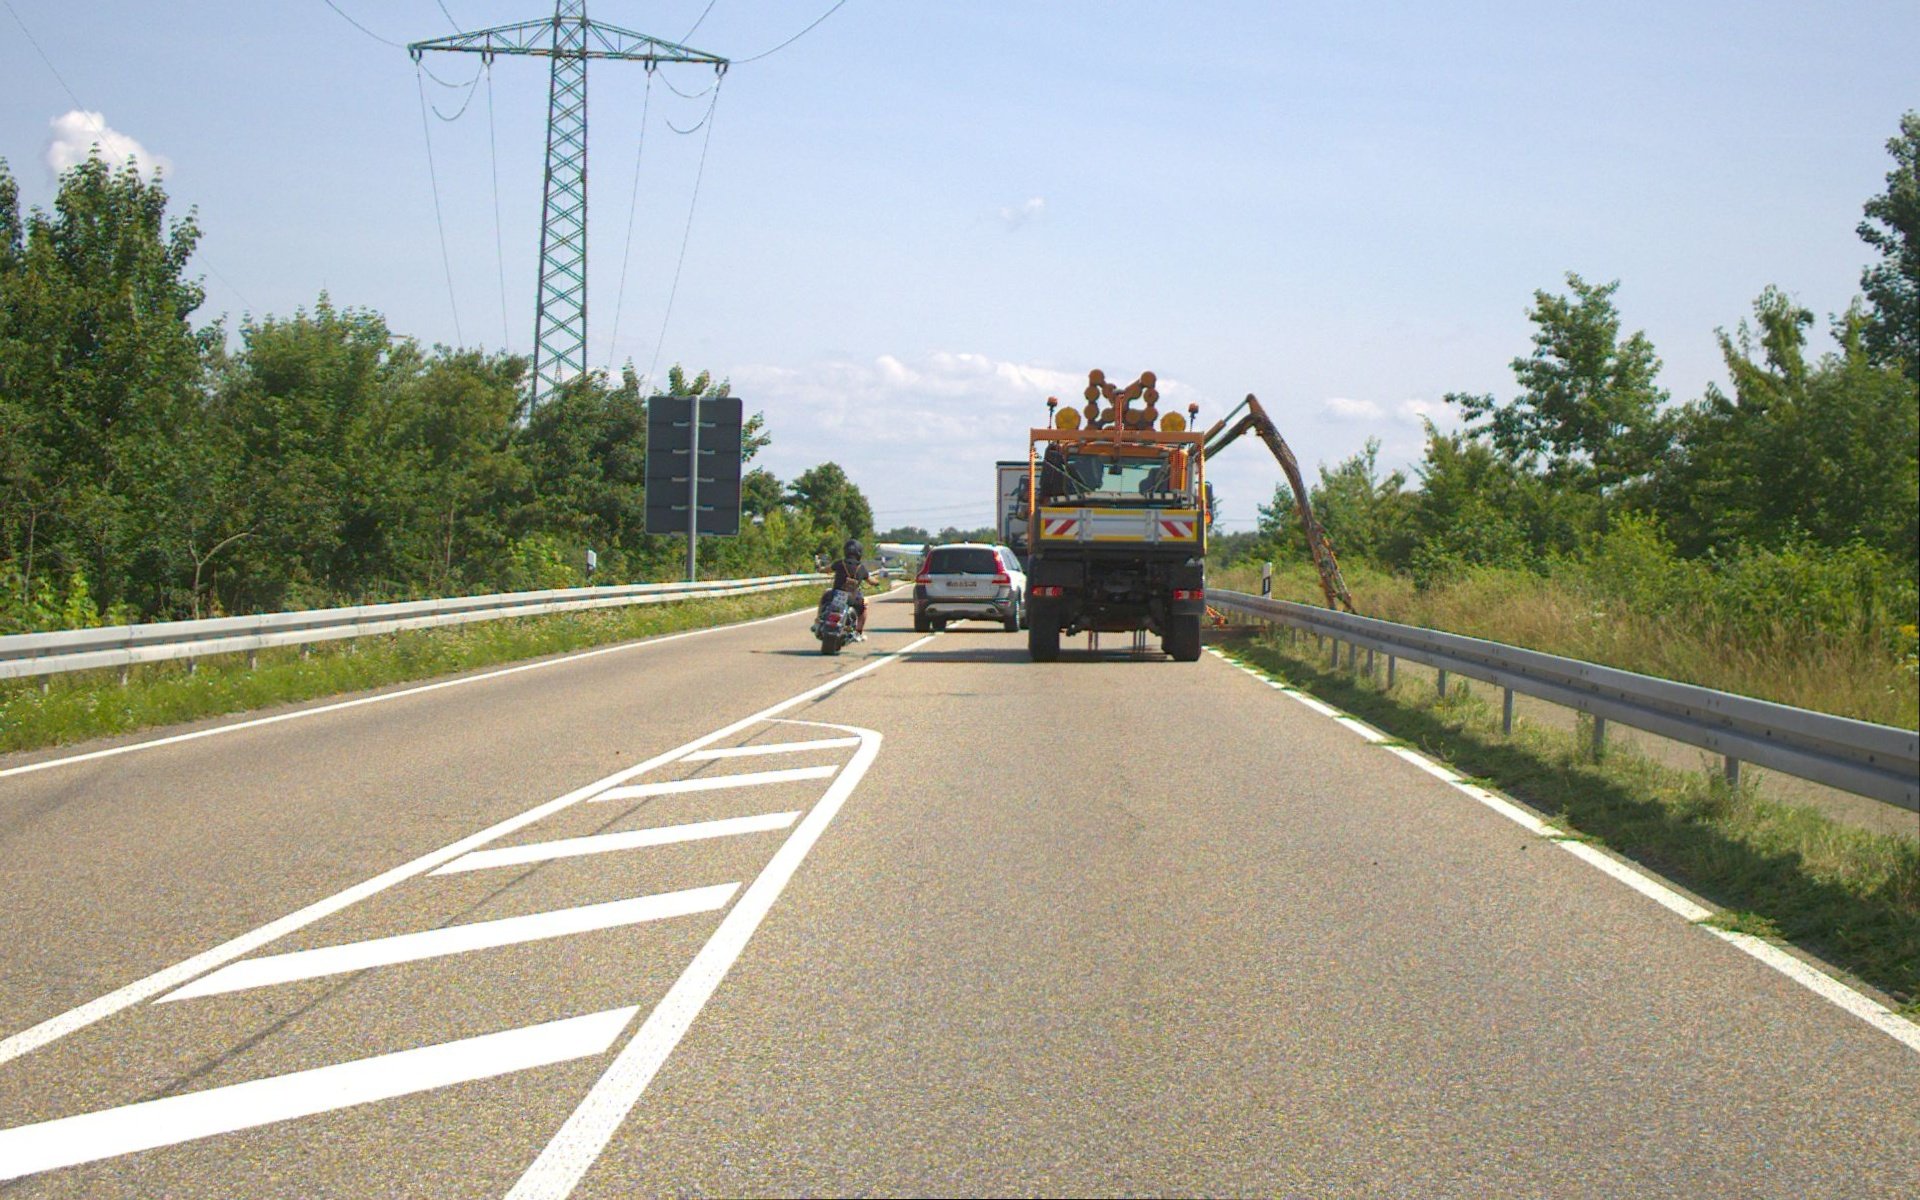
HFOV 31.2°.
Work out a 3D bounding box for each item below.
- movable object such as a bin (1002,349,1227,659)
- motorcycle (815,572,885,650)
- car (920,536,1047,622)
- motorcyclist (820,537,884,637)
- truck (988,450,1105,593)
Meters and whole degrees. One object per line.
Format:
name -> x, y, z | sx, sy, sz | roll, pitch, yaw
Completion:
movable object such as a bin -> 2.114, -1.294, 47.676 | 2.753, 3.826, 9.445 | 1, 1, 2
motorcycle -> -1.460, 0.135, 46.002 | 0.780, 0.972, 2.361 | 1, 1, 2
car -> 0.453, -0.405, 61.056 | 1.826, 1.446, 3.999 | 1, 1, 6
motorcyclist -> -1.444, -0.180, 46.012 | 0.780, 1.321, 0.813 | 1, 1, 2
truck -> 2.595, -2.250, 101.403 | 3.242, 3.965, 9.443 | 1, 1, 2
